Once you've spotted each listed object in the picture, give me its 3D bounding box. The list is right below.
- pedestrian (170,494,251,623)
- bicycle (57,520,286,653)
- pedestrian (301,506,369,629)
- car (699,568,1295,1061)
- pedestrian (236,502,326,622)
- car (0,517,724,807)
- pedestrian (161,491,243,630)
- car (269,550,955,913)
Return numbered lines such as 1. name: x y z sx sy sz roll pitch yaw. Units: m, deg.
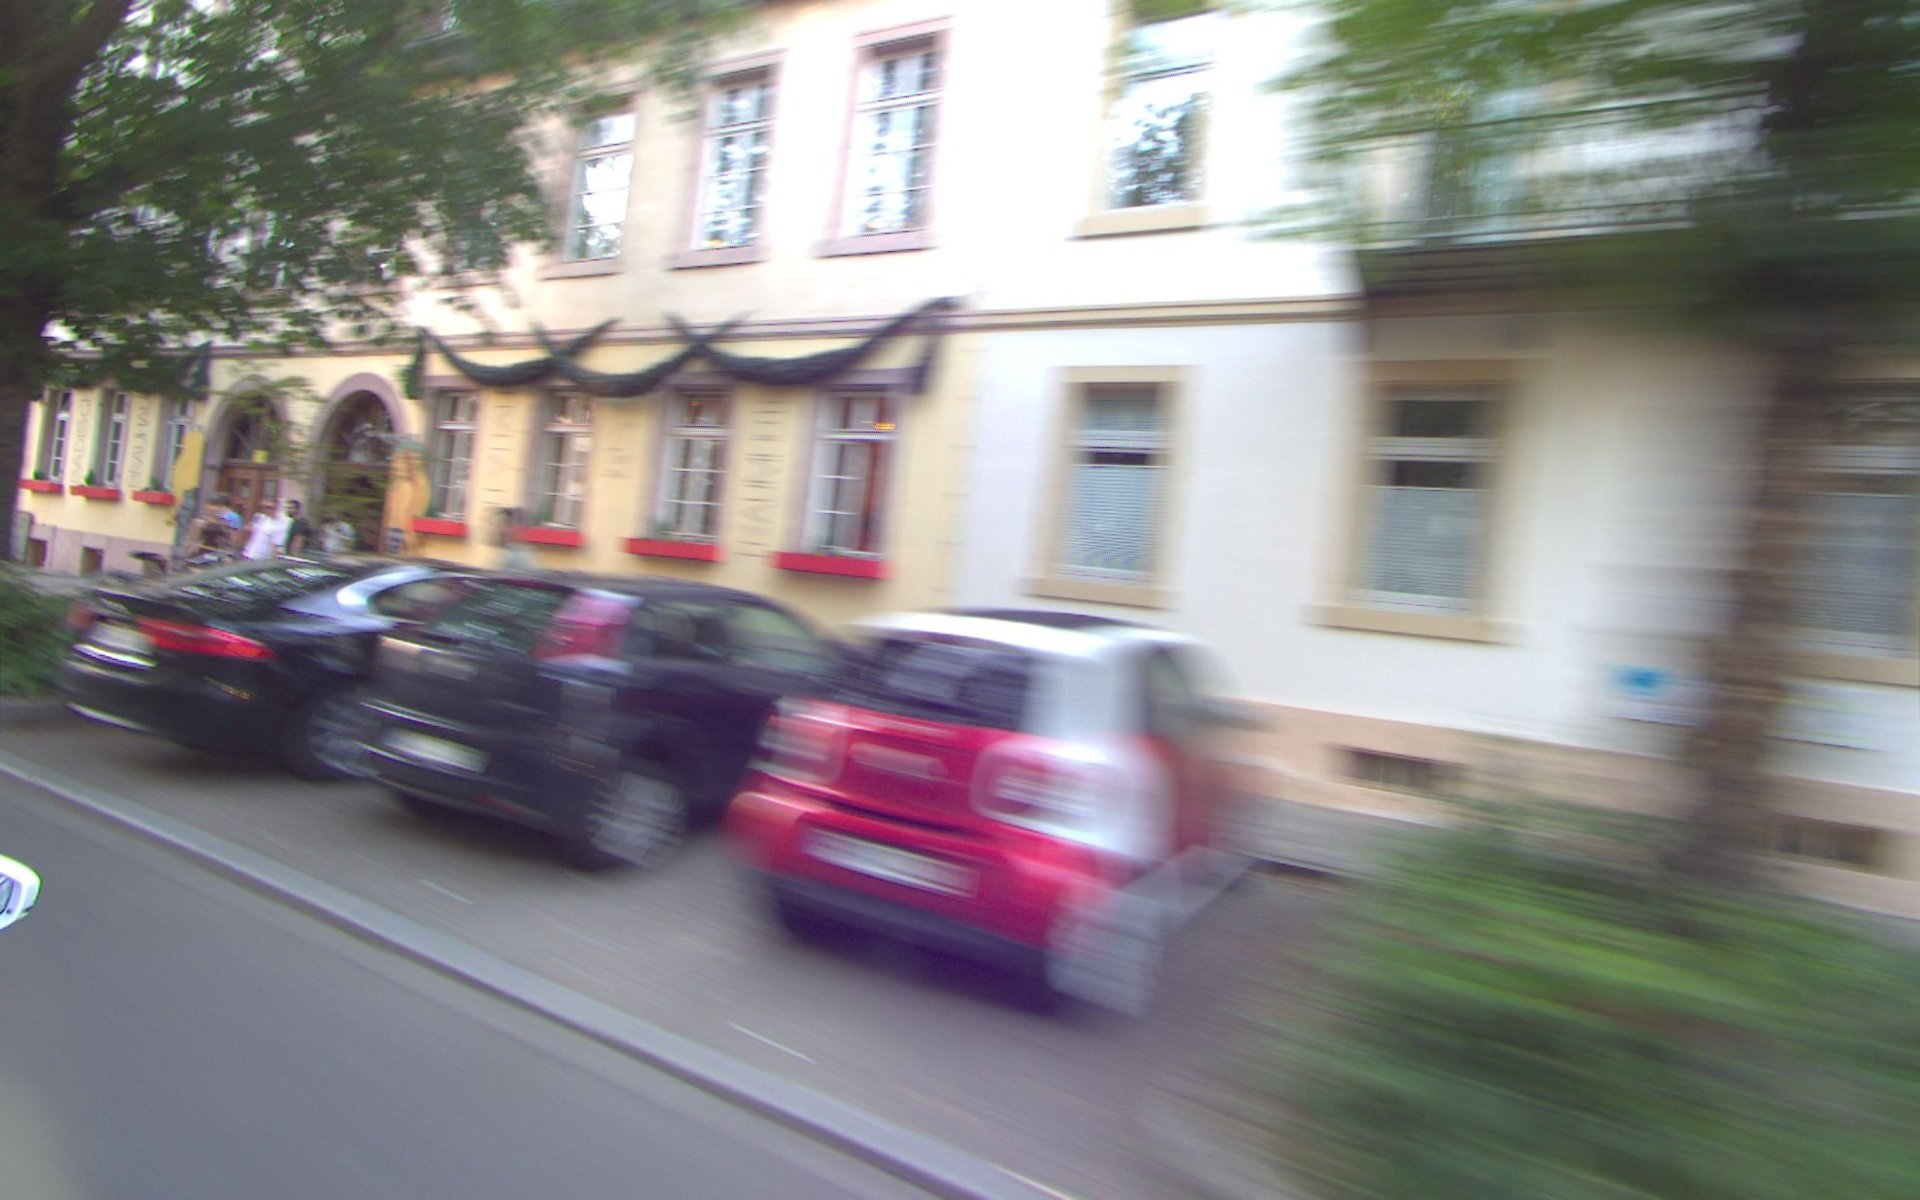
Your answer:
1. pedestrian: -10.827 -0.588 14.541 0.613 1.761 0.616 8 2 28
2. bicycle: -8.350 -0.119 10.758 0.661 1.249 1.799 6 1 19
3. pedestrian: -9.570 -0.503 15.393 0.720 1.761 0.737 5 2 -35
4. car: 0.551 0.789 5.515 1.684 1.599 3.683 6 2 28
5. pedestrian: -10.518 -0.571 15.607 0.671 1.761 0.779 7 2 12
6. car: -3.995 0.342 7.630 1.852 1.412 4.406 6 2 26
7. pedestrian: -10.236 -0.531 13.585 0.709 1.761 0.738 5 2 -42
8. car: -1.827 0.604 6.590 1.893 1.457 3.992 6 2 26
